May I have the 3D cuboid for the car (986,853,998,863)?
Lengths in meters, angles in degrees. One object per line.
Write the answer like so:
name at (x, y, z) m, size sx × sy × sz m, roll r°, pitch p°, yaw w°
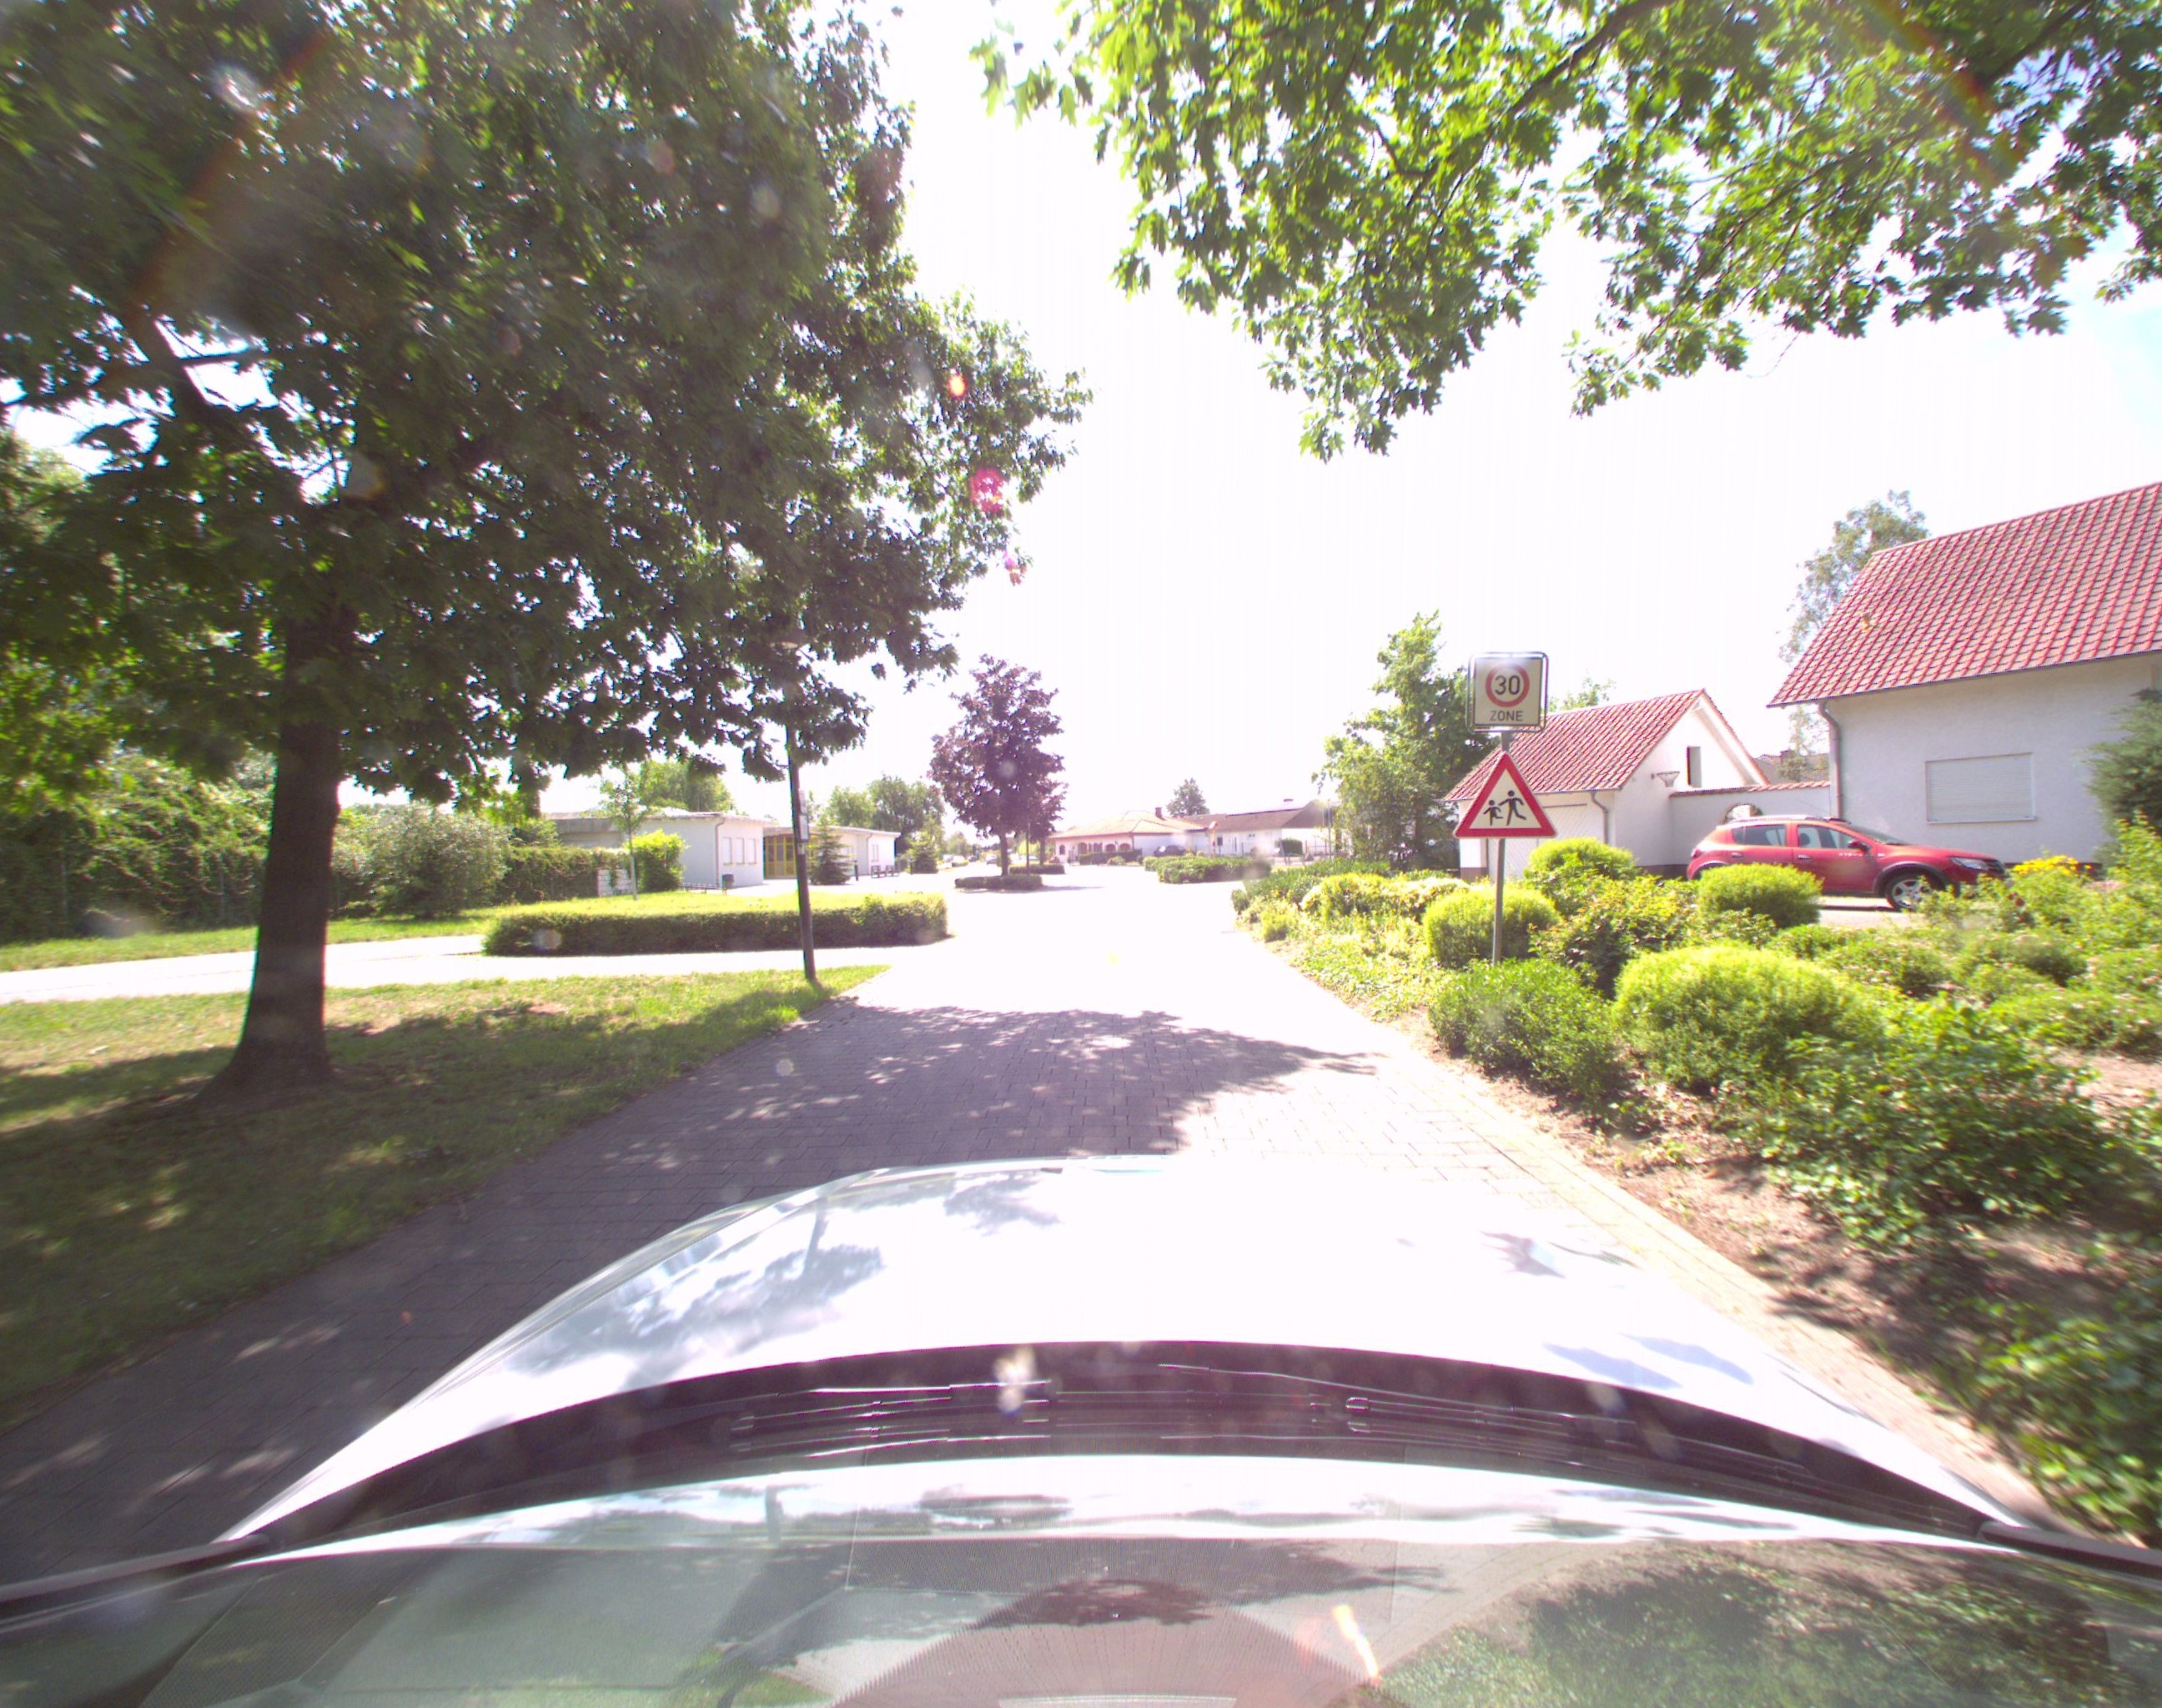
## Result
car at (-12.491, 0.527, 113.866) m, size 1.613 × 1.288 × 3.547 m, roll -1°, pitch 0°, yaw -8°

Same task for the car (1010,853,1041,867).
car at (-5.308, 0.571, 78.211) m, size 1.624 × 1.288 × 3.523 m, roll -1°, pitch 0°, yaw -29°

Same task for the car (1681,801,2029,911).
car at (12.982, 0.032, 13.972) m, size 1.670 × 1.601 × 3.990 m, roll -1°, pitch 0°, yaw -28°

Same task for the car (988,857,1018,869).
car at (-8.928, 0.991, 92.954) m, size 2.005 × 1.288 × 3.963 m, roll -1°, pitch 0°, yaw -29°

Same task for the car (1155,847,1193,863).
car at (9.816, 0.106, 85.757) m, size 3.857 × 1.542 × 1.832 m, roll -1°, pitch 0°, yaw -42°
